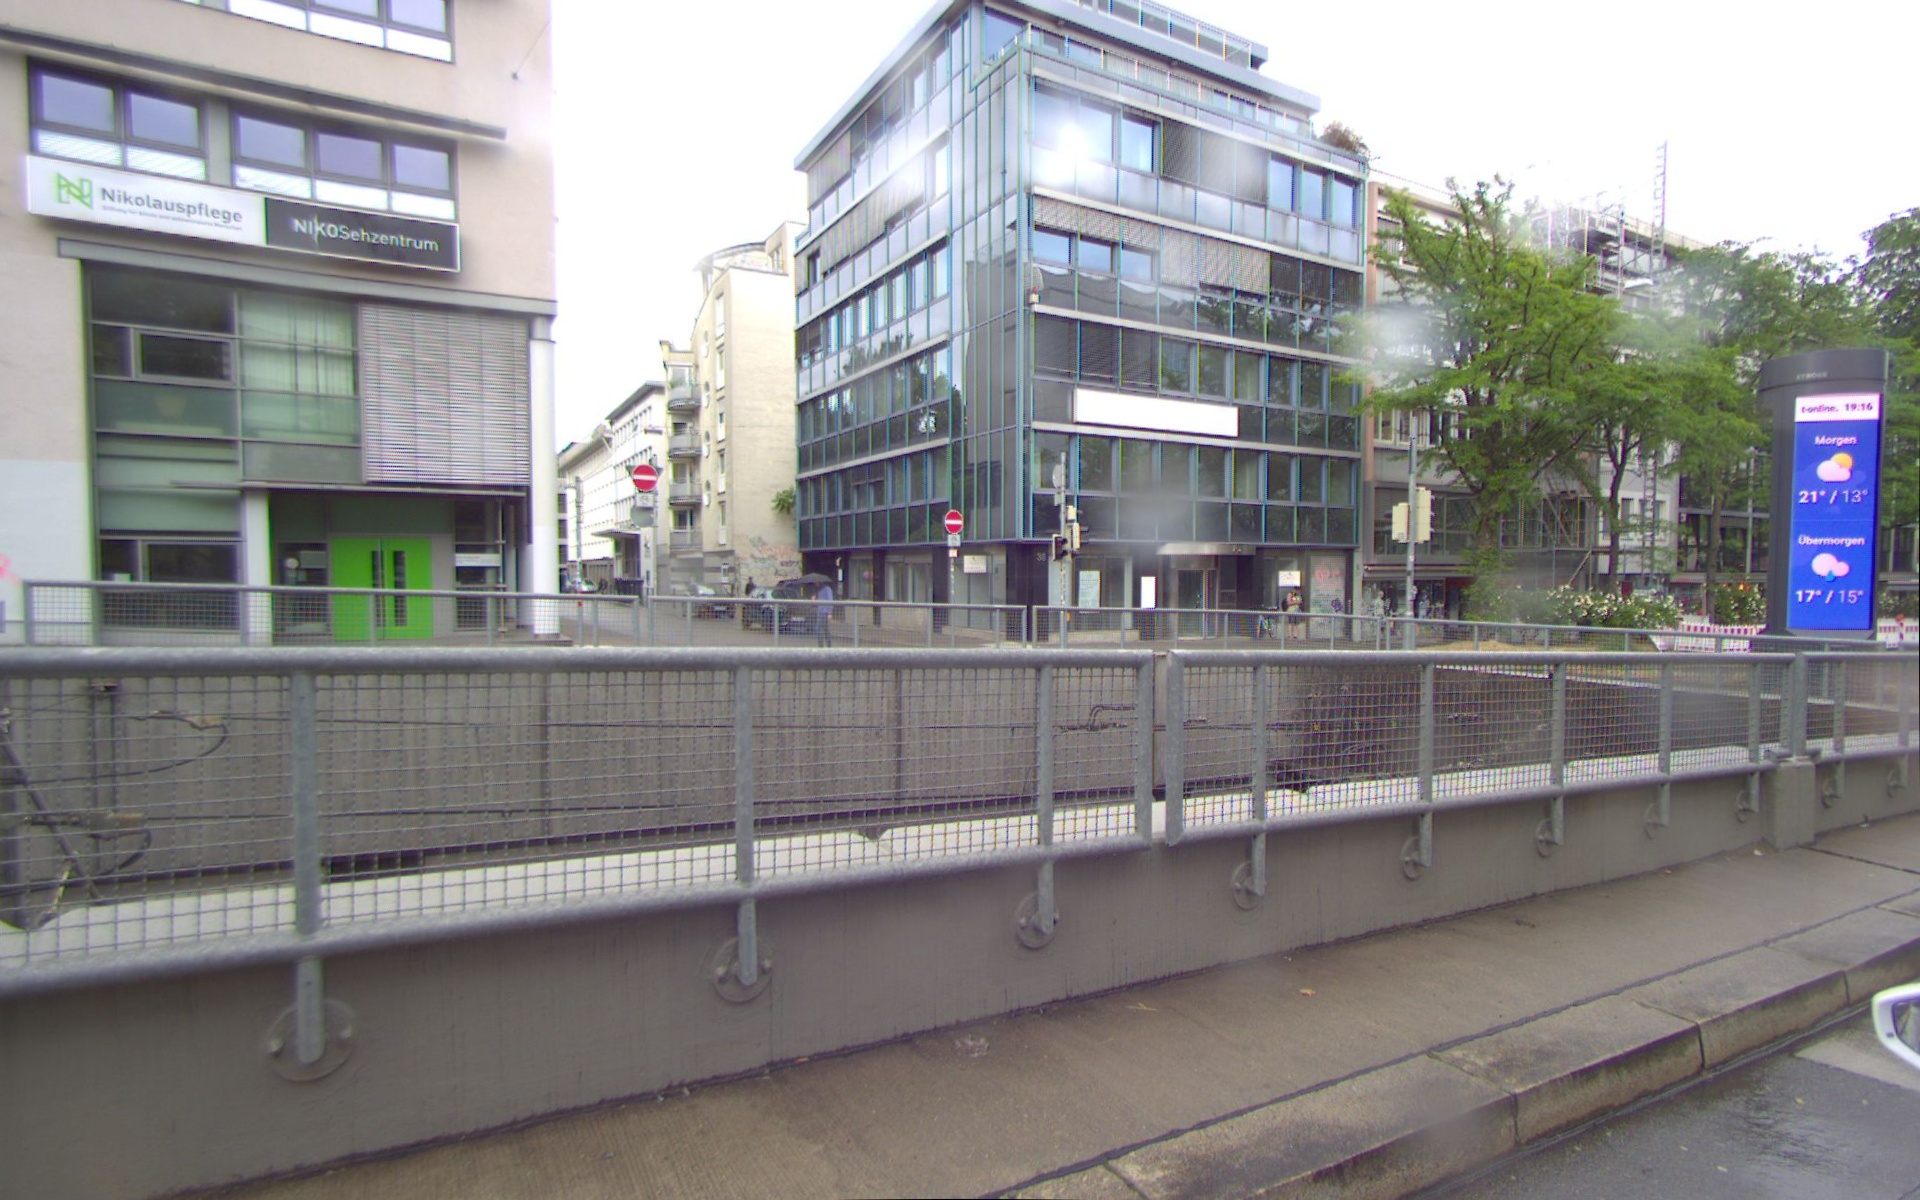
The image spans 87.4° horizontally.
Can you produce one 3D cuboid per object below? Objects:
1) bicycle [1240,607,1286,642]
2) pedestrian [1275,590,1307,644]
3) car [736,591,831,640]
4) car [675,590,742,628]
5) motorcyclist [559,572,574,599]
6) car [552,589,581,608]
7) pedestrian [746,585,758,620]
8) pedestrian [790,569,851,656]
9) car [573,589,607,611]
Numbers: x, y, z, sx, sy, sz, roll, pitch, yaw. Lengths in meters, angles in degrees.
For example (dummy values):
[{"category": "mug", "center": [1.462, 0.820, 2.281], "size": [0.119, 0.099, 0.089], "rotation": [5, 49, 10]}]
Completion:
[{"category": "bicycle", "center": [9.869, 0.806, 32.723], "size": [1.544, 1.100, 0.444], "rotation": [1, 1, -27]}, {"category": "pedestrian", "center": [10.949, 0.552, 33.230], "size": [0.688, 1.765, 0.691], "rotation": [1, 2, -35]}, {"category": "car", "center": [-6.241, 0.506, 35.171], "size": [1.977, 1.578, 3.966], "rotation": [1, 0, -31]}, {"category": "car", "center": [-11.106, 0.365, 44.109], "size": [1.777, 1.578, 3.966], "rotation": [1, 0, -31]}, {"category": "motorcyclist", "center": [-27.365, -1.011, 69.853], "size": [0.850, 1.832, 1.007], "rotation": [1, 2, -29]}, {"category": "car", "center": [-34.389, -0.152, 87.803], "size": [1.777, 1.578, 3.967], "rotation": [1, 0, -30]}, {"category": "pedestrian", "center": [-10.164, 0.119, 49.010], "size": [0.443, 1.664, 0.326], "rotation": [1, 2, -35]}, {"category": "pedestrian", "center": [-3.095, 0.275, 22.218], "size": [1.047, 1.863, 0.853], "rotation": [1, 2, -30]}, {"category": "car", "center": [-28.044, -0.006, 76.071], "size": [1.777, 1.578, 3.967], "rotation": [1, 0, -30]}]
